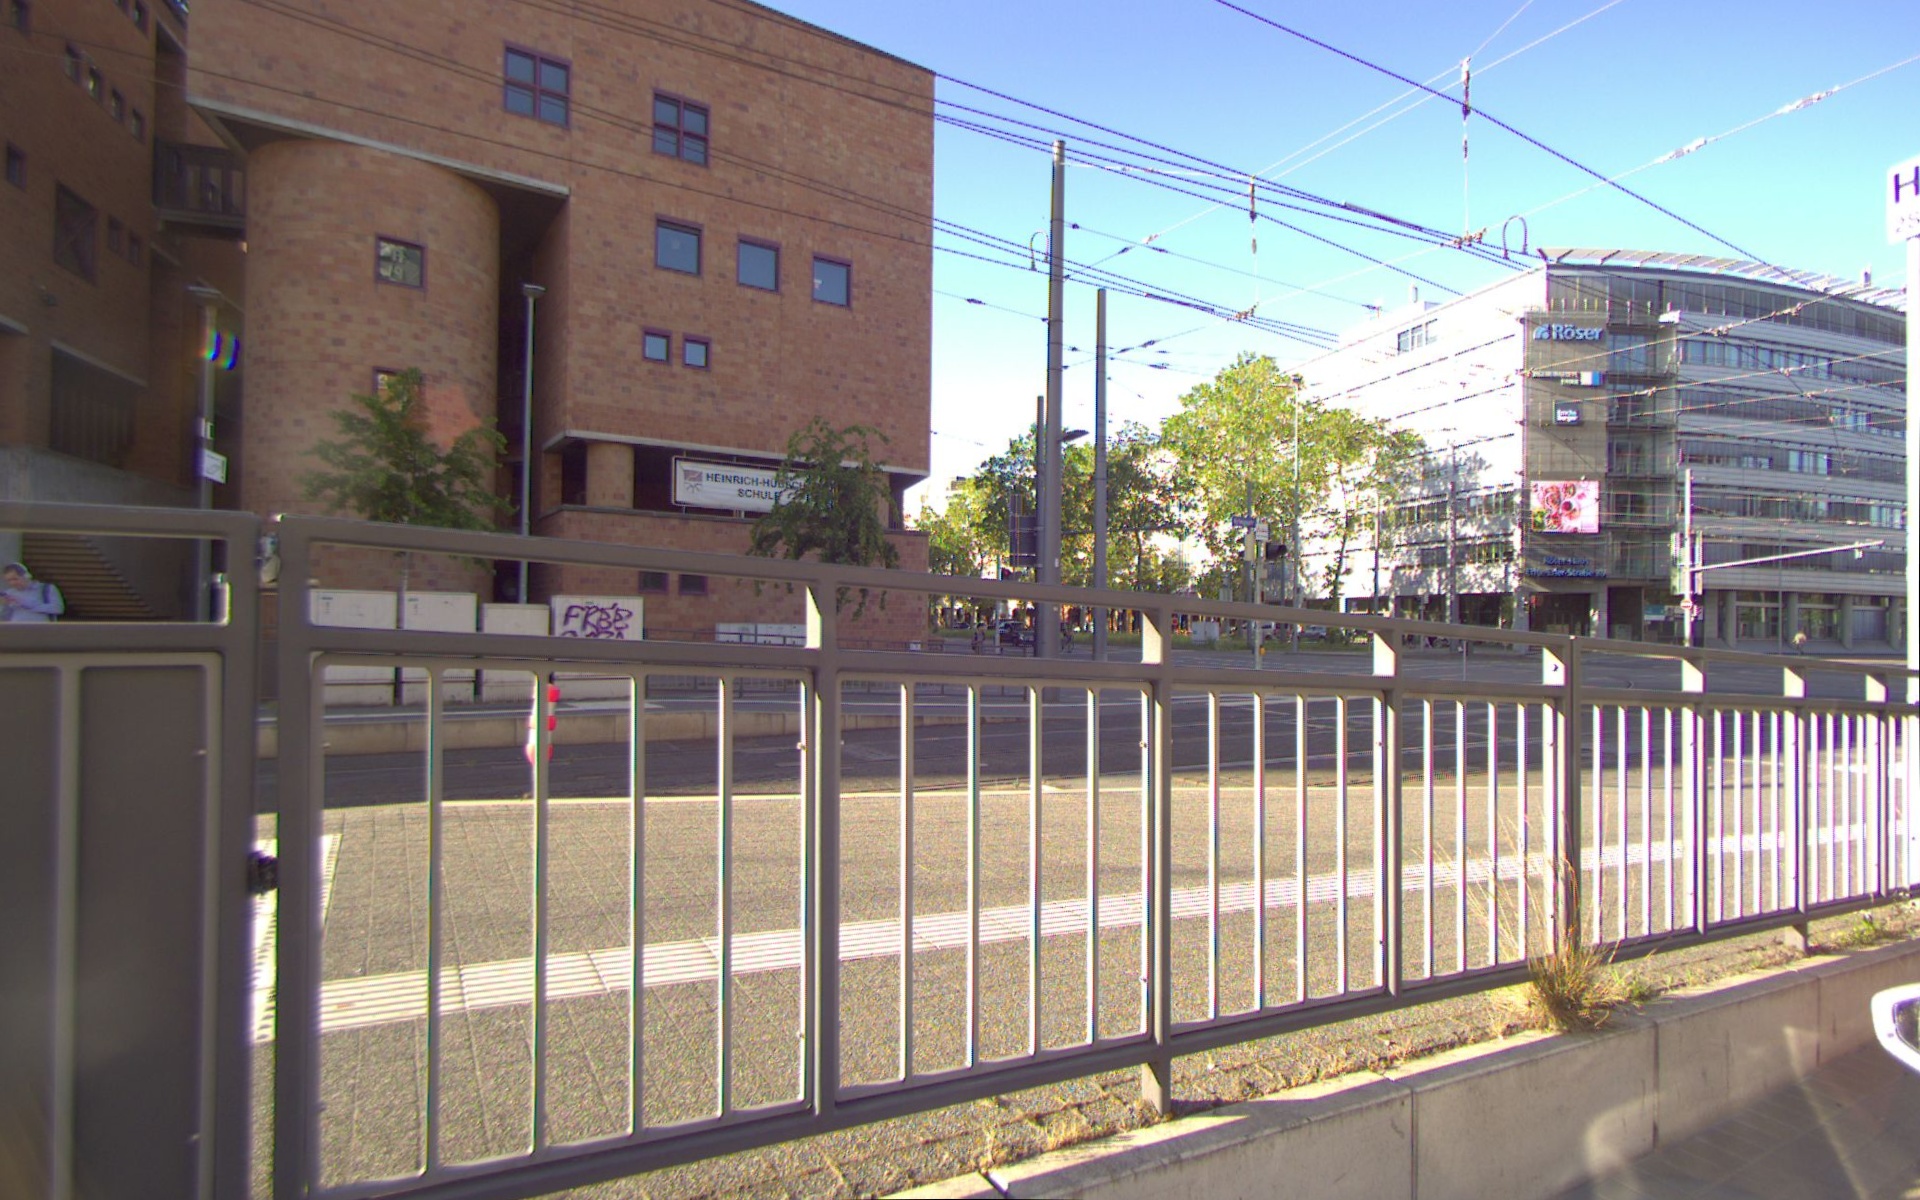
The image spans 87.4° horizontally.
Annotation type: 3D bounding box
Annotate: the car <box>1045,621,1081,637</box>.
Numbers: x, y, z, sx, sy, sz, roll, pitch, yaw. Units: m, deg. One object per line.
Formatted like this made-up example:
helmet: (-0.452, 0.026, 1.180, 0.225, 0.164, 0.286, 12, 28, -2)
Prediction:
car: (10.986, 3.098, 107.442, 1.969, 1.650, 4.055, 0, -1, -29)

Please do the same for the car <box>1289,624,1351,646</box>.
car: (27.288, 2.635, 76.300, 1.840, 1.594, 4.387, -1, 0, -25)

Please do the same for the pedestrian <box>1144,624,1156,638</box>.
pedestrian: (20.725, 3.378, 109.421, 0.860, 1.567, 0.989, 1, -1, -22)

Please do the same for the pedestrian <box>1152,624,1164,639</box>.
pedestrian: (21.318, 3.391, 108.238, 0.861, 1.567, 0.988, 1, -1, -25)

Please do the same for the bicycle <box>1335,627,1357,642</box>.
bicycle: (30.526, 2.737, 79.348, 1.812, 1.167, 0.467, 0, 0, -23)

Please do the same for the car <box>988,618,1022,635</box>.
car: (5.276, 3.088, 117.578, 2.011, 2.003, 4.382, 0, -1, -29)

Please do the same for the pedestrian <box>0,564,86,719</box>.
pedestrian: (-9.662, 0.425, 10.512, 0.647, 1.555, 0.696, 1, -1, -33)

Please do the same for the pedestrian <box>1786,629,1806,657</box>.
pedestrian: (55.528, 2.878, 66.739, 0.872, 1.847, 0.674, 1, -2, -20)

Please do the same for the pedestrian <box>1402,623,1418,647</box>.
pedestrian: (31.649, 2.447, 70.572, 0.598, 1.633, 0.832, -2, 2, -26)

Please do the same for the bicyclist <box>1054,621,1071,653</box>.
bicyclist: (5.379, 1.928, 52.857, 0.614, 1.643, 0.812, 1, -1, -16)

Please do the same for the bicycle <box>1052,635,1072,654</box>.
bicycle: (5.372, 2.341, 52.863, 0.528, 0.925, 1.564, 1, -1, -15)

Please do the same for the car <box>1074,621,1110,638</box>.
car: (13.440, 2.996, 102.238, 1.840, 1.660, 3.844, 1, -1, -25)

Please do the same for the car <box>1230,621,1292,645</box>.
car: (24.278, 2.635, 81.233, 1.904, 1.868, 4.889, -1, 0, -28)

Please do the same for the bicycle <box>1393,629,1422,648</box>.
bicycle: (31.363, 2.694, 70.431, 0.605, 1.179, 1.835, -2, 2, -27)

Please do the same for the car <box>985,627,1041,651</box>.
car: (3.282, 2.428, 62.522, 1.639, 1.346, 3.586, 2, 0, -35)

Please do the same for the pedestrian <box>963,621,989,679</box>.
pedestrian: (0.472, 1.433, 28.974, 0.501, 1.639, 0.504, 2, 0, -40)
